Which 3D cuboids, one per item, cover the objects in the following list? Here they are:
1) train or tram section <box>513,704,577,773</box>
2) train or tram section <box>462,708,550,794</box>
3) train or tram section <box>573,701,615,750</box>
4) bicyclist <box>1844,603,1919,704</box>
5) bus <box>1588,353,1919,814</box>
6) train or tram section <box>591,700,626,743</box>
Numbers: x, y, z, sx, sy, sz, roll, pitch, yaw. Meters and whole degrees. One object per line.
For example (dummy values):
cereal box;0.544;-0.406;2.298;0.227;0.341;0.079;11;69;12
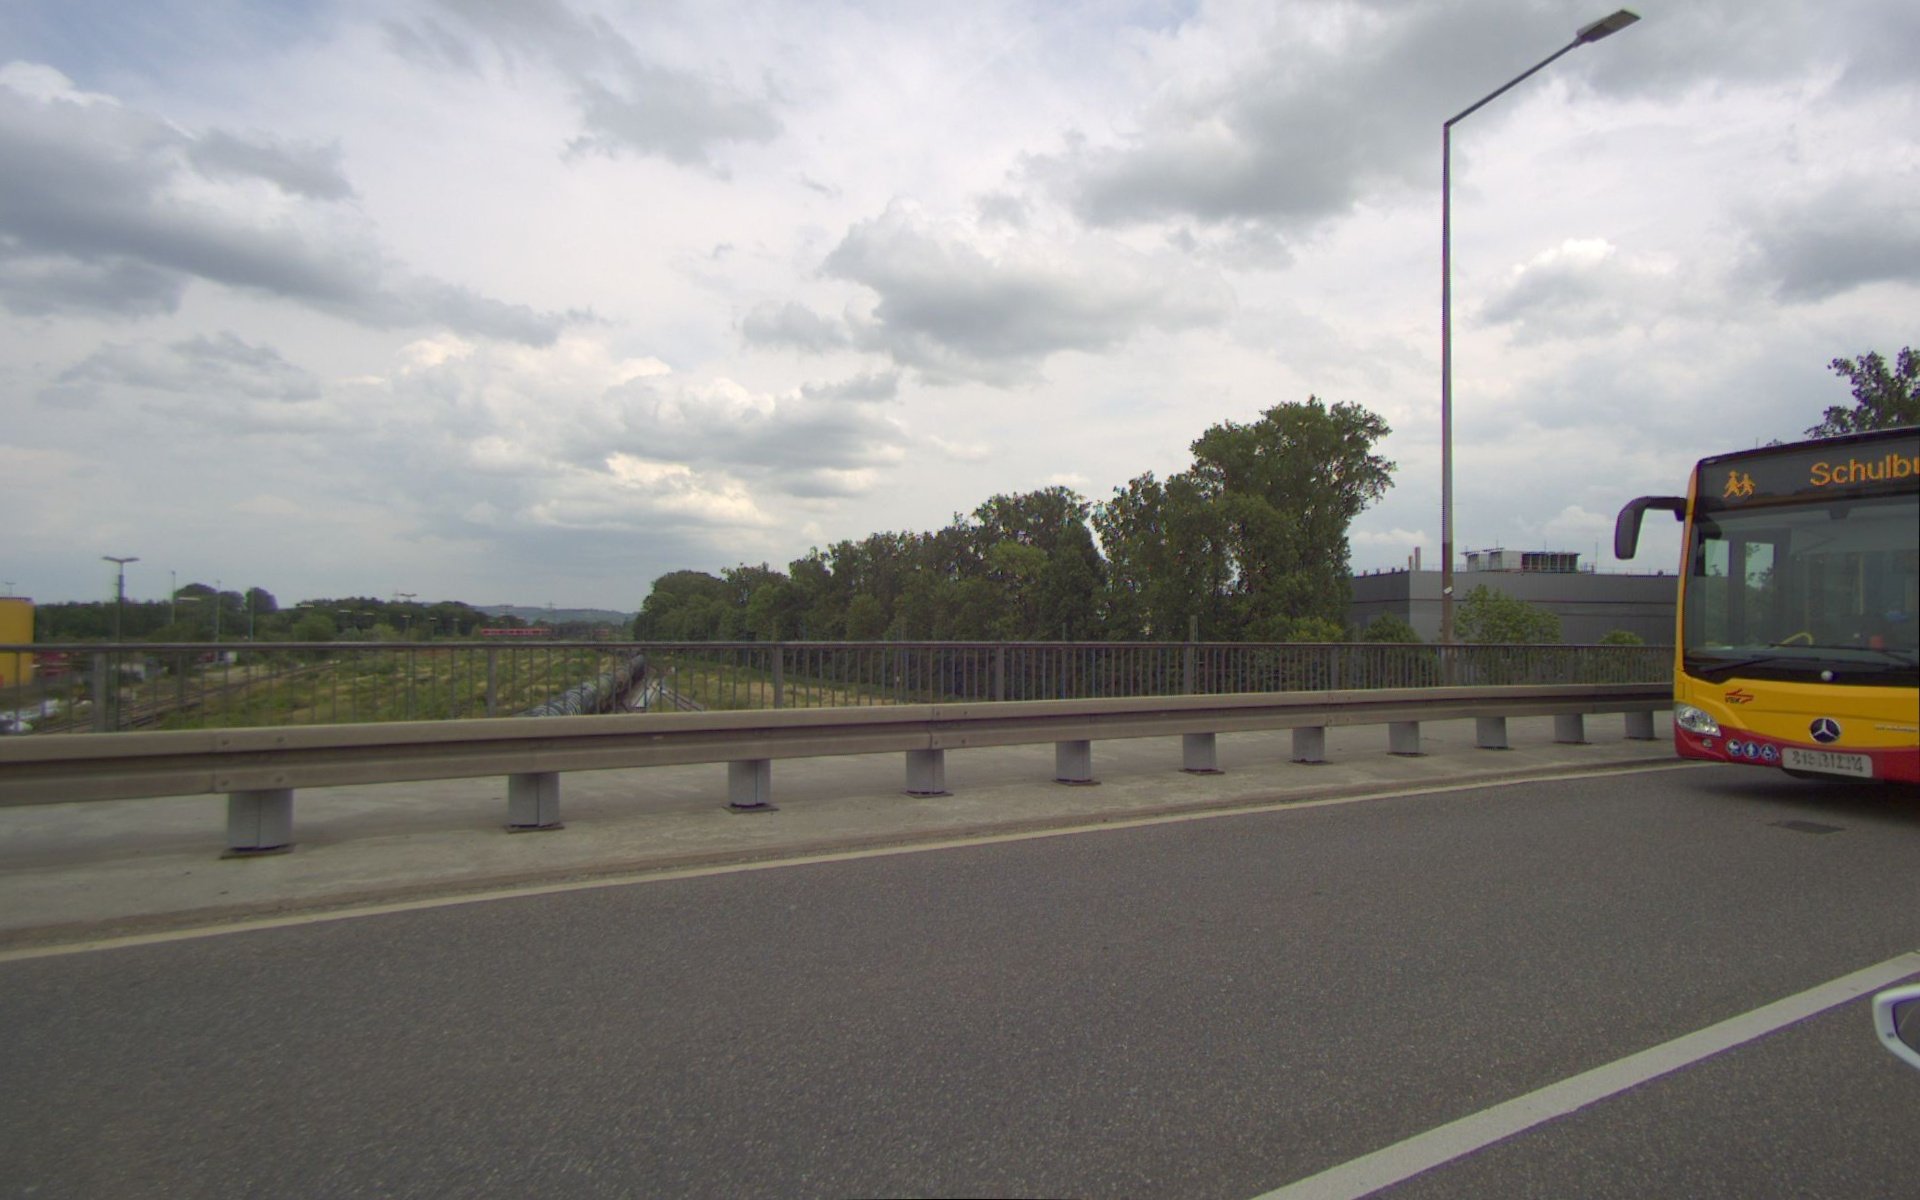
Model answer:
train or tram section;-28.728;9.449;70.061;1.966;4.147;12.737;2;-5;-13
train or tram section;-25.780;8.394;57.671;1.966;4.147;12.738;2;-6;-13
train or tram section;-34.451;11.720;94.833;2.047;4.147;12.737;2;-5;-13
bicyclist;14.745;0.845;16.057;0.745;1.560;0.609;2;0;-19
bus;12.267;0.096;10.578;12.774;3.276;3.023;2;0;-25
train or tram section;-37.378;12.805;107.186;2.047;4.147;12.737;2;-5;-13
